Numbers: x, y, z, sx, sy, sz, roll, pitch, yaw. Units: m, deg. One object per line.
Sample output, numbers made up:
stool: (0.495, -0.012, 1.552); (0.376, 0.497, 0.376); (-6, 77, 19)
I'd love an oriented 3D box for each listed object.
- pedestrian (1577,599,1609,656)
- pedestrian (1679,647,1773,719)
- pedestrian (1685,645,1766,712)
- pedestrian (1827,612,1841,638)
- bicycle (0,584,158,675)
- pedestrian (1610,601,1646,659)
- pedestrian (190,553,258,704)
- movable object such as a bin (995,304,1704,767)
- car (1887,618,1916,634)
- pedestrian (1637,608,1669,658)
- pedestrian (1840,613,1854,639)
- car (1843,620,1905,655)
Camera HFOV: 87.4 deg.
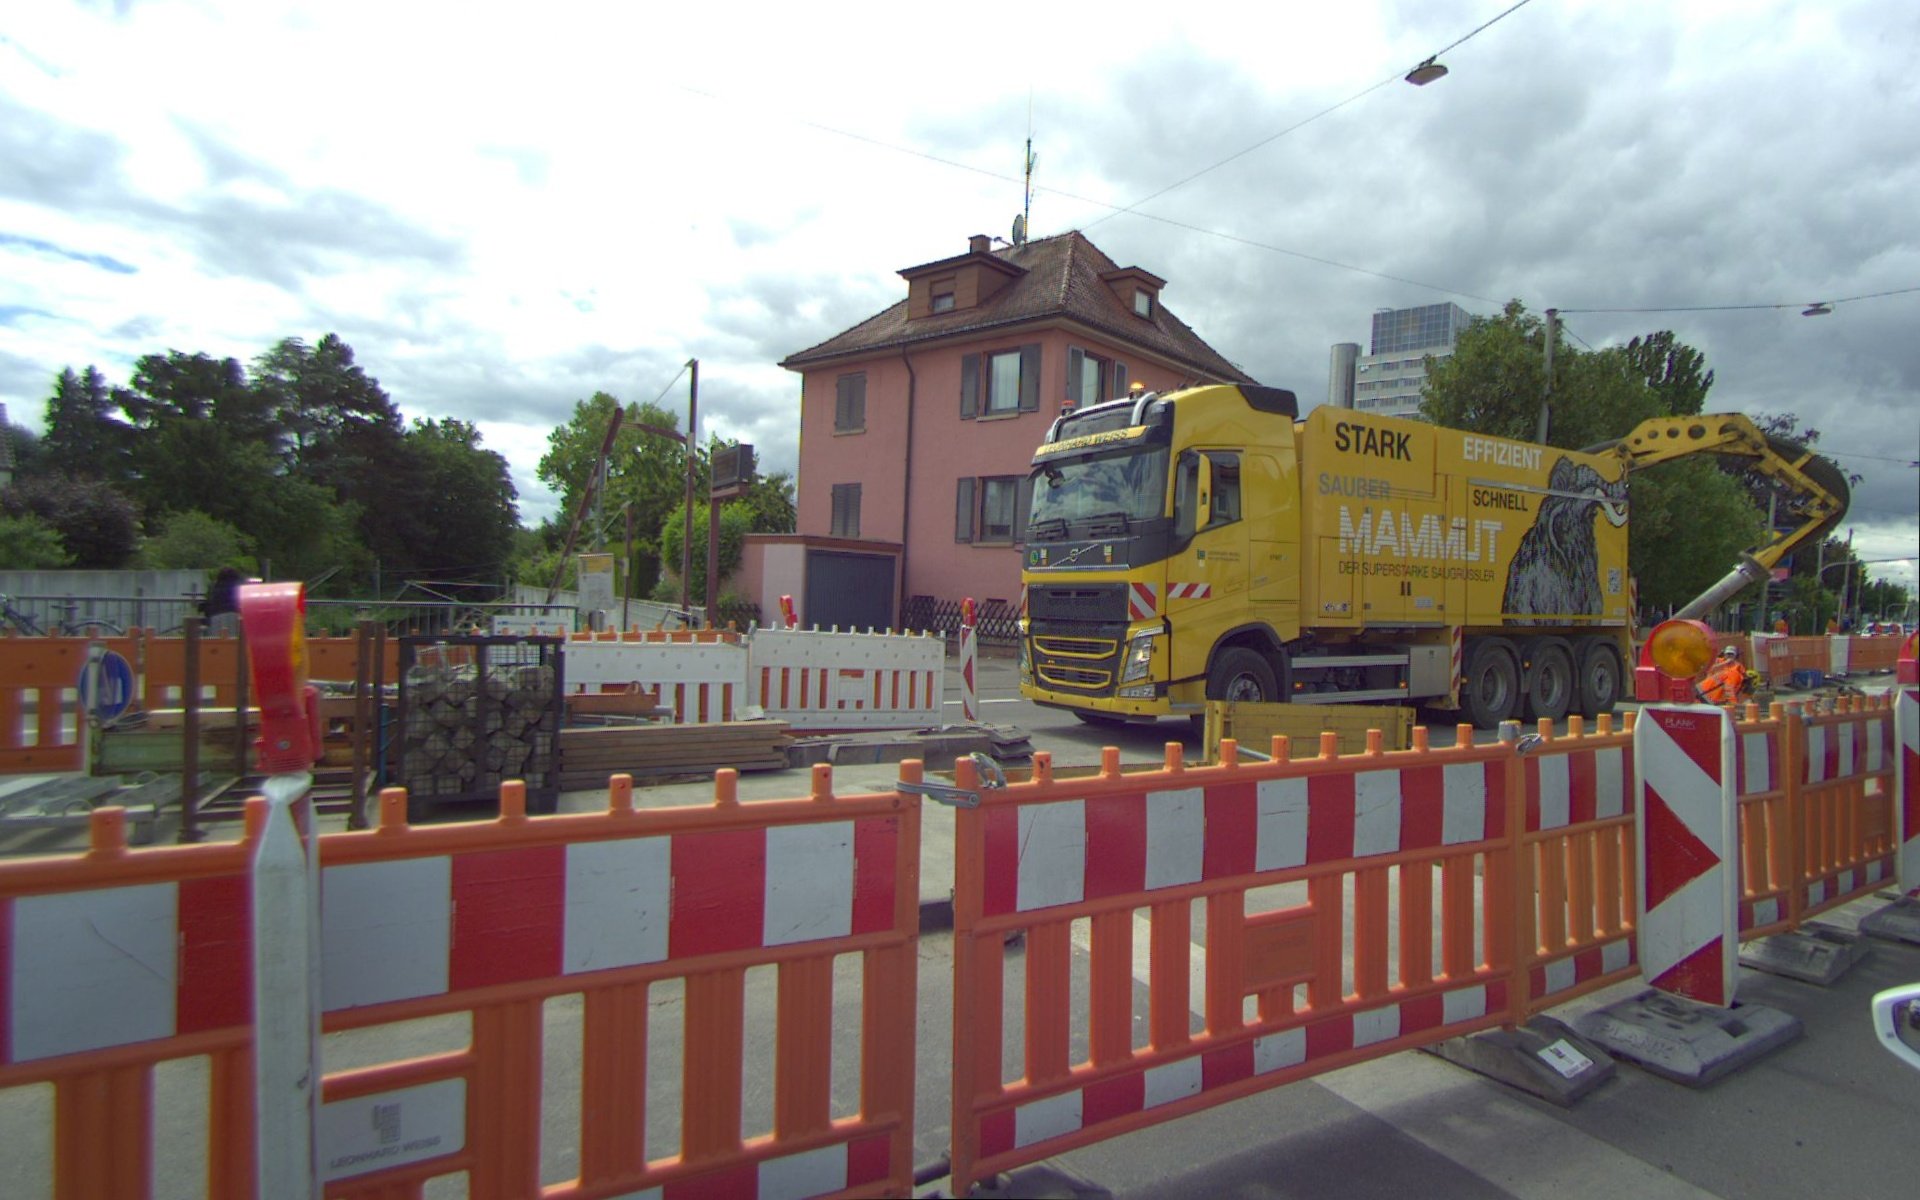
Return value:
pedestrian: (21.532, 0.932, 34.186); (0.612, 1.872, 0.625); (2, 1, -17)
pedestrian: (11.469, 1.228, 15.049); (0.799, 1.004, 0.790); (1, 1, -17)
pedestrian: (12.102, 1.232, 15.893); (0.778, 1.004, 0.642); (1, 1, -7)
pedestrian: (65.302, 1.868, 75.060); (0.674, 1.879, 0.702); (3, 1, 44)
bicycle: (-11.376, 0.360, 12.482); (2.102, 1.097, 0.536); (1, 0, -25)
pedestrian: (22.000, 0.970, 33.066); (0.612, 1.872, 0.694); (2, 1, -17)
pedestrian: (-9.619, 0.363, 13.143); (0.577, 1.911, 0.676); (1, 1, -27)
movable object such as a bin: (5.783, -0.488, 13.297); (10.996, 4.278, 2.577); (1, 0, -32)
car: (97.902, 2.723, 104.470); (3.970, 1.533, 1.837); (2, 1, -42)
pedestrian: (23.521, 1.110, 34.100); (0.744, 1.624, 0.825); (3, 1, 42)
pedestrian: (65.816, 1.948, 74.538); (0.674, 1.879, 0.887); (3, 1, 44)
car: (42.916, 1.743, 47.134); (3.973, 1.472, 1.836); (1, 2, -44)
